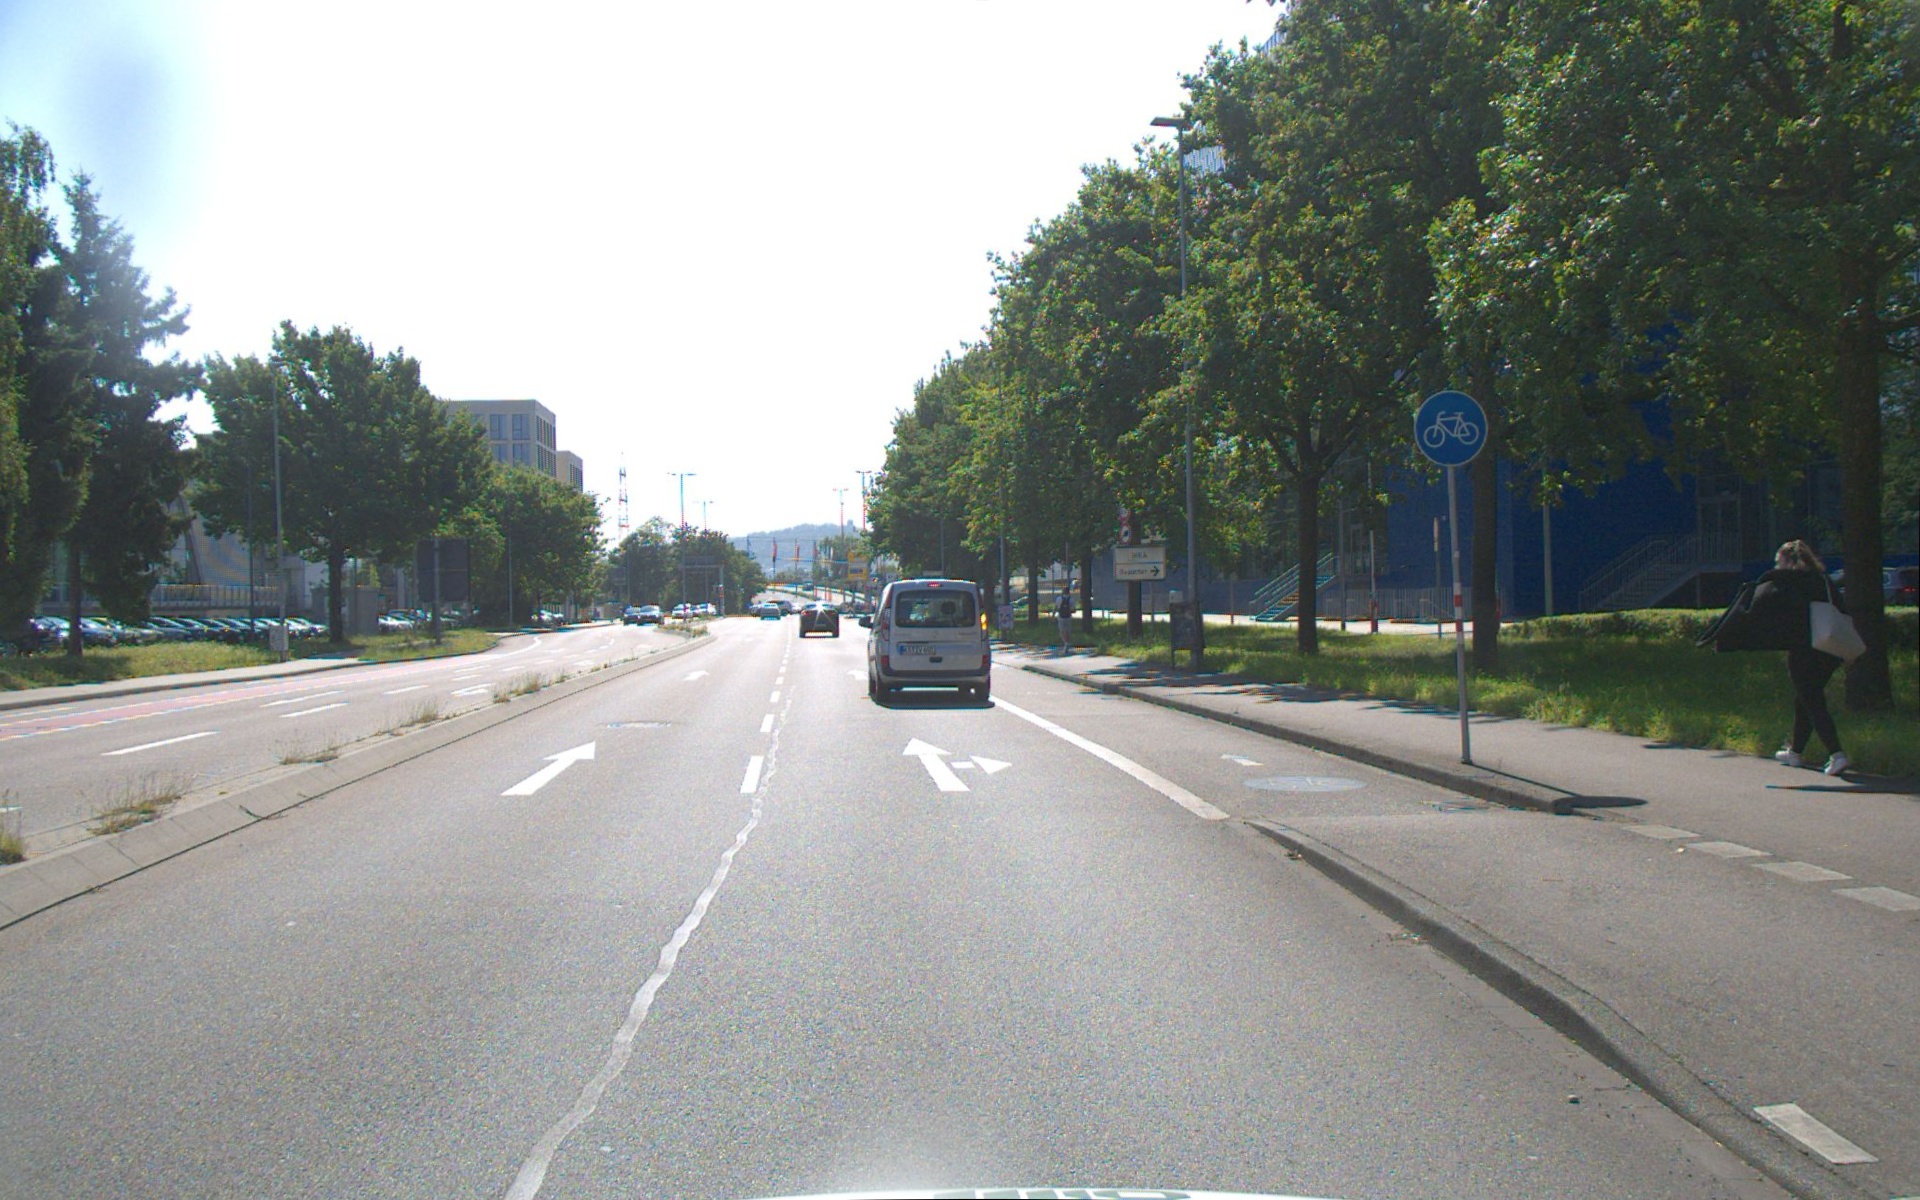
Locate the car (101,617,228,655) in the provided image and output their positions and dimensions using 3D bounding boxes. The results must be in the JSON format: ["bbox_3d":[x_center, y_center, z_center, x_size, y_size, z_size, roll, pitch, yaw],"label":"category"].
[{"bbox_3d":[-32.129,1.445,66.883,4.181,1.374,1.952,-2,0,-3],"label":"car"}]

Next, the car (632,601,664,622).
[{"bbox_3d":[-23.803,0.855,126.294,1.806,1.489,4.994,-4,0,-5],"label":"car"}]

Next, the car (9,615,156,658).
[{"bbox_3d":[-31.281,1.287,59.047,4.181,1.374,1.952,-2,0,-3],"label":"car"}]

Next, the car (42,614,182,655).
[{"bbox_3d":[-31.654,1.276,61.809,4.181,1.374,1.952,-2,0,-3],"label":"car"}]

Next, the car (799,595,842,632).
[{"bbox_3d":[-6.642,0.639,79.200,1.771,1.668,4.457,-2,0,-2],"label":"car"}]

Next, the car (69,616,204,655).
[{"bbox_3d":[-31.923,1.362,64.208,4.181,1.374,1.952,-2,0,-3],"label":"car"}]

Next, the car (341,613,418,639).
[{"bbox_3d":[-34.948,1.555,99.655,3.963,1.400,2.023,-2,0,-5],"label":"car"}]

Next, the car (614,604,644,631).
[{"bbox_3d":[-27.603,1.445,137.977,1.954,2.048,3.997,1,1,-4],"label":"car"}]

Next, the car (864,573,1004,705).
[{"bbox_3d":[-0.500,0.563,26.154,1.868,1.861,4.175,-2,0,-5],"label":"car"}]

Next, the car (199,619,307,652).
[{"bbox_3d":[-33.013,1.631,77.327,4.181,1.374,1.952,-2,0,-3],"label":"car"}]

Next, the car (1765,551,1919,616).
[{"bbox_3d":[22.687,-0.399,41.478,1.879,1.547,4.345,-2,0,-22],"label":"car"}]

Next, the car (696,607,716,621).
[{"bbox_3d":[-30.144,1.656,196.663,1.779,1.489,3.999,-2,0,-1],"label":"car"}]

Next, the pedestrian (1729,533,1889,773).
[{"bbox_3d":[6.053,0.363,11.825,0.634,1.631,0.846,-2,0,-4],"label":"pedestrian"}]

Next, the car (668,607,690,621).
[{"bbox_3d":[-33.133,1.648,195.177,1.853,1.489,3.999,-2,0,-1],"label":"car"}]

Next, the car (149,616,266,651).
[{"bbox_3d":[-32.862,1.464,72.284,4.181,1.374,1.952,-2,0,-3],"label":"car"}]

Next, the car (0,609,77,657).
[{"bbox_3d":[-30.178,1.060,51.567,4.181,1.405,1.952,-2,0,-3],"label":"car"}]

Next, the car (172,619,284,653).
[{"bbox_3d":[-33.098,1.617,74.848,4.181,1.374,1.952,-2,0,-3],"label":"car"}]

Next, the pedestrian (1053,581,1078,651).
[{"bbox_3d":[2.880,0.425,45.033,0.524,1.874,0.727,-2,0,-5],"label":"pedestrian"}]

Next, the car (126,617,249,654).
[{"bbox_3d":[-32.379,1.473,69.423,4.181,1.374,1.952,-2,0,-3],"label":"car"}]

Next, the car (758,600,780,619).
[{"bbox_3d":[-17.991,0.928,155.906,1.955,1.713,3.996,-2,0,-5],"label":"car"}]

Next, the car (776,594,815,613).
[{"bbox_3d":[-17.995,0.378,180.828,3.928,2.048,1.989,0,1,-20],"label":"car"}]

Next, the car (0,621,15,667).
[{"bbox_3d":[-30.485,1.371,48.643,4.181,1.351,1.952,-2,0,-3],"label":"car"}]
